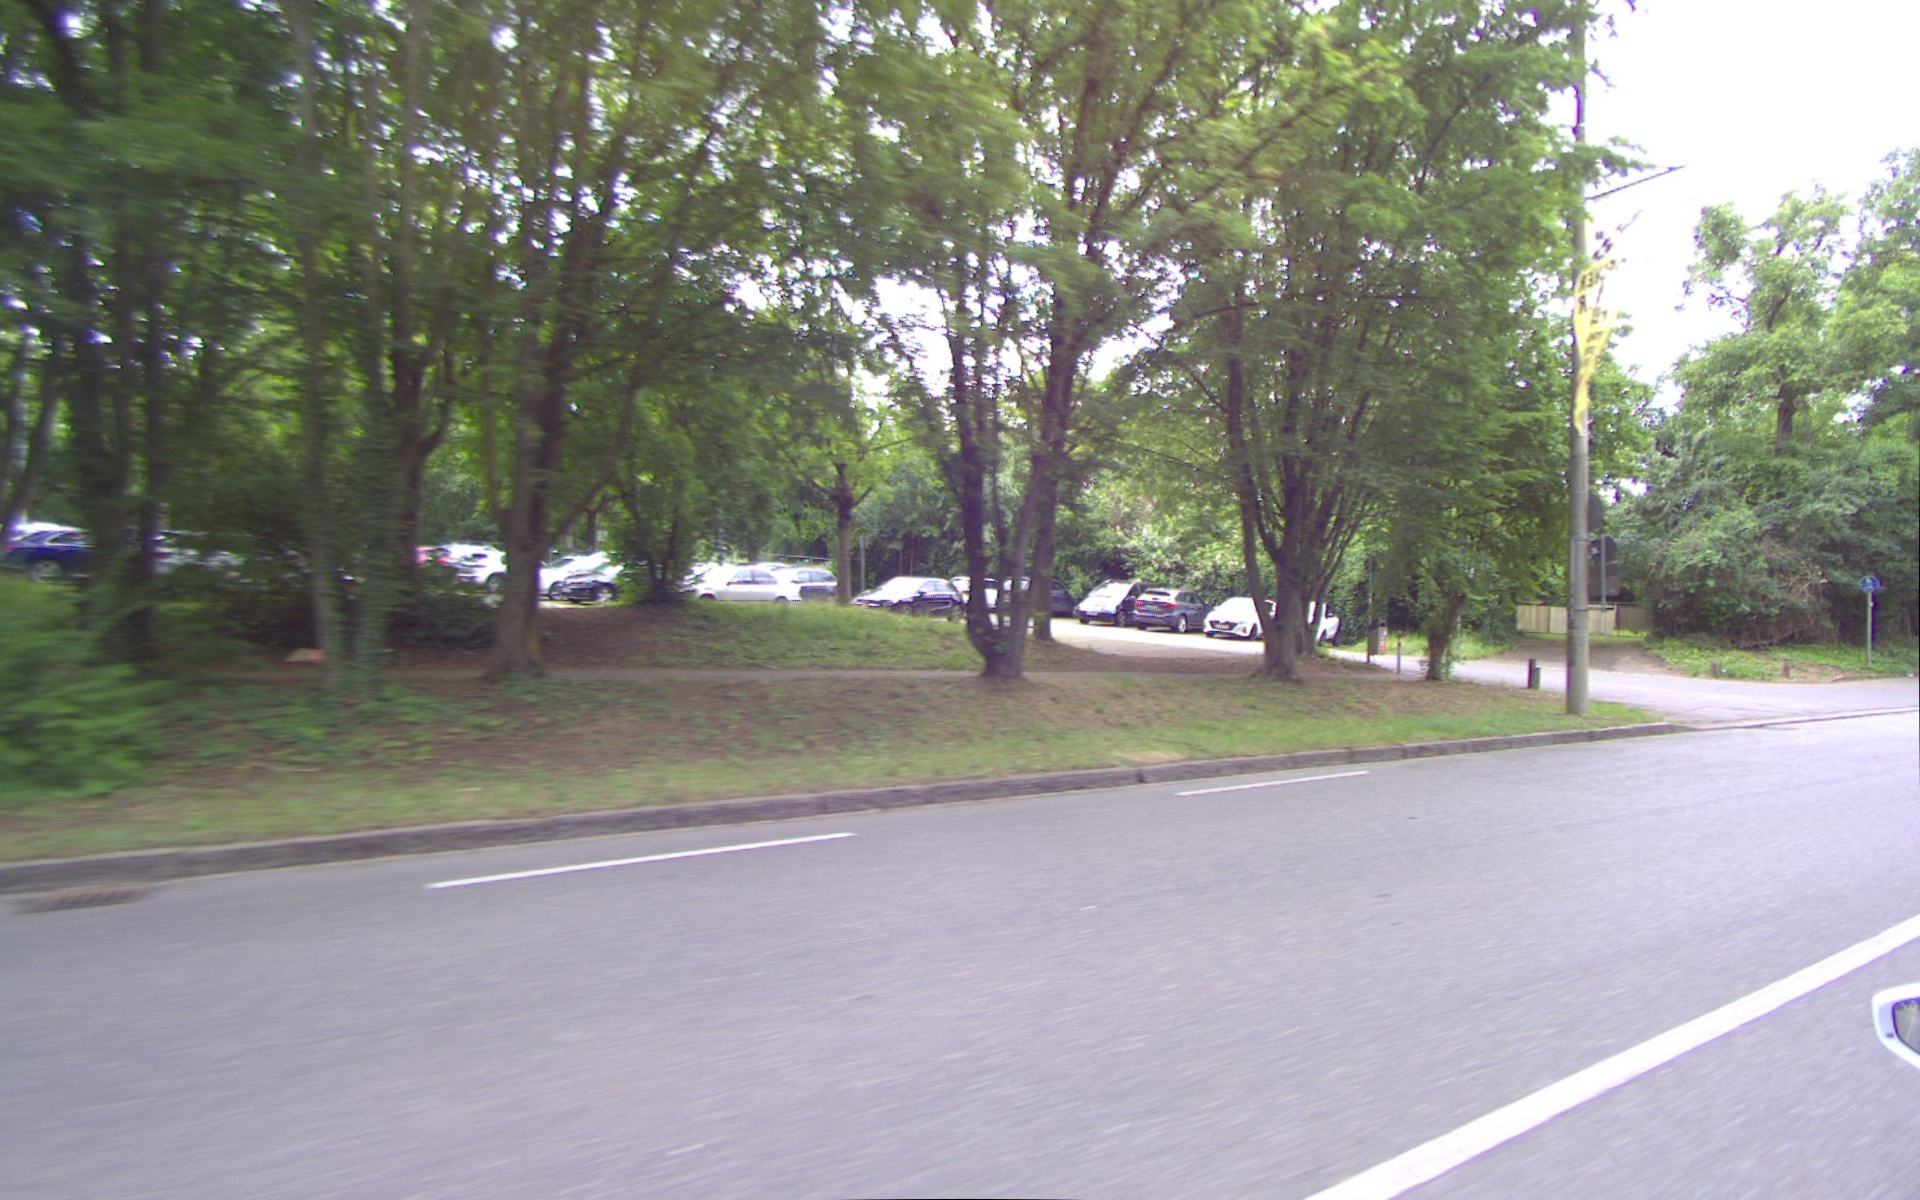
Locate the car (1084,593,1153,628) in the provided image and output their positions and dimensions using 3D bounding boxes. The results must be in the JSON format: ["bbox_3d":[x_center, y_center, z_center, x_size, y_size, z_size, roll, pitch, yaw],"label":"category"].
[{"bbox_3d":[6.128,0.411,38.683,1.247,1.228,3.058,4,2,38],"label":"car"}]

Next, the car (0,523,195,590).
[{"bbox_3d":[-22.353,-1.063,25.821,1.624,1.506,3.986,2,0,36],"label":"car"}]

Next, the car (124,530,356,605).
[{"bbox_3d":[-16.238,-0.685,22.840,1.624,1.506,3.986,2,0,36],"label":"car"}]

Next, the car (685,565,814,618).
[{"bbox_3d":[-6.094,-0.226,29.416,1.620,1.399,3.578,3,1,33],"label":"car"}]

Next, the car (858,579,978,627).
[{"bbox_3d":[-1.261,0.102,31.813,1.419,1.358,4.107,4,1,38],"label":"car"}]

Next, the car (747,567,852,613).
[{"bbox_3d":[-5.408,-0.316,34.152,1.516,1.434,3.365,4,2,38],"label":"car"}]

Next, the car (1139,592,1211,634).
[{"bbox_3d":[7.990,0.483,37.259,1.354,1.420,3.058,4,2,38],"label":"car"}]

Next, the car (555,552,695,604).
[{"bbox_3d":[-10.472,-0.665,31.651,1.624,1.506,3.986,2,0,36],"label":"car"}]

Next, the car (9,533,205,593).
[{"bbox_3d":[-24.242,-1.005,28.673,1.624,1.506,3.986,2,0,36],"label":"car"}]

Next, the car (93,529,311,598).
[{"bbox_3d":[-18.506,-0.841,24.684,1.624,1.506,3.986,2,0,36],"label":"car"}]

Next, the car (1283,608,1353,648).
[{"bbox_3d":[12.459,0.946,34.920,1.354,1.255,3.058,4,2,38],"label":"car"}]

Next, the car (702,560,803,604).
[{"bbox_3d":[-7.424,-0.642,36.127,1.516,1.434,3.365,4,2,38],"label":"car"}]

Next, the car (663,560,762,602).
[{"bbox_3d":[-9.209,-0.693,37.522,1.516,1.434,3.365,4,2,38],"label":"car"}]

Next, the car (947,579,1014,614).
[{"bbox_3d":[0.901,-0.148,42.625,1.247,1.387,3.058,4,2,38],"label":"car"}]

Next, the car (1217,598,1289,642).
[{"bbox_3d":[10.416,0.705,35.642,1.354,1.420,3.058,4,2,38],"label":"car"}]

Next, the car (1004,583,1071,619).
[{"bbox_3d":[3.229,0.050,41.484,1.247,1.379,3.058,4,2,38],"label":"car"}]

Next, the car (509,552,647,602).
[{"bbox_3d":[-12.448,-0.720,32.909,1.624,1.506,3.986,2,0,36],"label":"car"}]

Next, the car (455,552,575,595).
[{"bbox_3d":[-15.729,-0.907,35.647,1.620,1.372,3.578,3,1,33],"label":"car"}]
